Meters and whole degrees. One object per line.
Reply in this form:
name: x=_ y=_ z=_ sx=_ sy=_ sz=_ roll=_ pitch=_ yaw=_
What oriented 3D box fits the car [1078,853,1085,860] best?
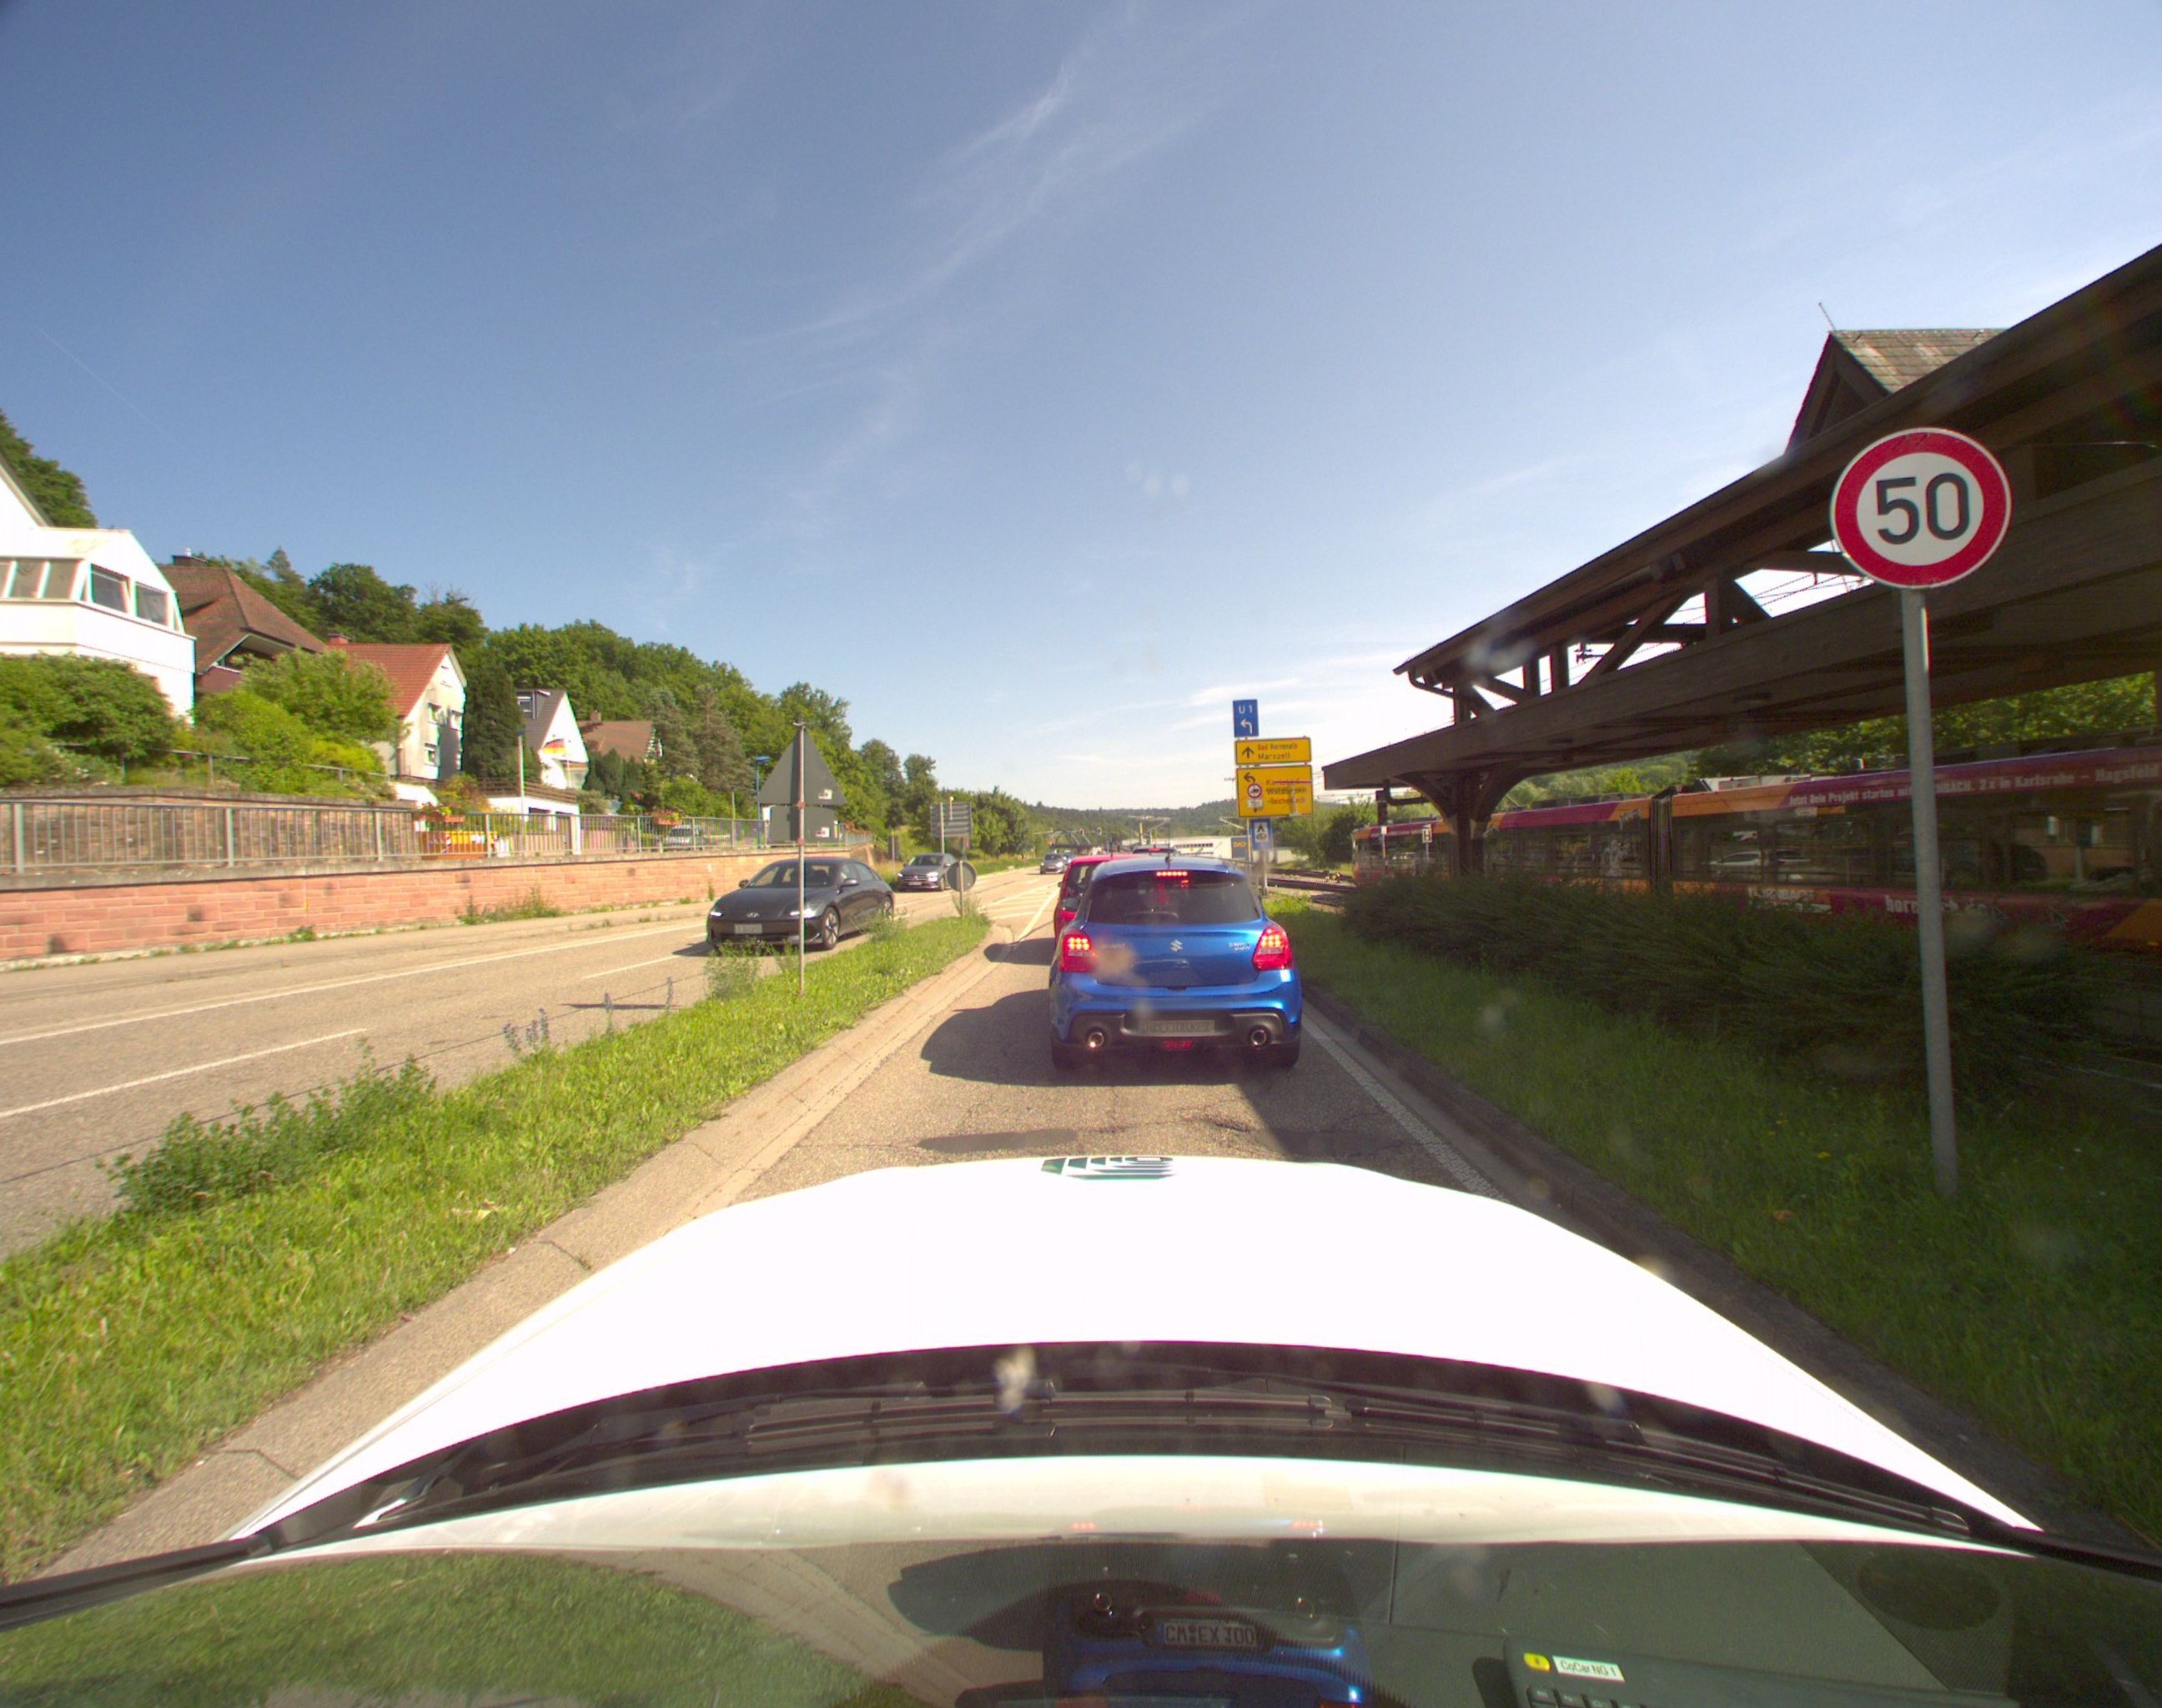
car: x=0.082 y=0.782 z=244.748 sx=1.986 sy=2.013 sz=4.002 roll=0 pitch=0 yaw=2

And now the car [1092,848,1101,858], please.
car: x=3.338 y=-0.295 z=176.223 sx=1.986 sy=2.144 sz=4.722 roll=0 pitch=0 yaw=2

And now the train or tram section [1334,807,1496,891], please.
train or tram section: x=15.379 y=-0.254 z=38.969 sx=2.747 sy=3.364 sz=12.044 roll=0 pitch=1 yaw=-1

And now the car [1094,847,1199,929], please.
car: x=1.408 y=0.645 z=18.079 sx=1.985 sy=1.531 sz=4.606 roll=-2 pitch=0 yaw=3

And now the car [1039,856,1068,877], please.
car: x=-1.916 y=0.854 z=57.911 sx=1.665 sy=1.441 sz=3.843 roll=-1 pitch=0 yaw=3

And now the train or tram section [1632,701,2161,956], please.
train or tram section: x=15.620 y=-0.353 z=13.665 sx=2.847 sy=3.365 sz=14.348 roll=-1 pitch=0 yaw=-1

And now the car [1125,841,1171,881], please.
car: x=3.096 y=0.301 z=38.172 sx=1.985 sy=1.736 sz=4.004 roll=1 pitch=0 yaw=3

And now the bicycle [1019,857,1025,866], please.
bicycle: x=-6.798 y=0.874 z=93.536 sx=0.564 sy=1.043 sz=1.551 roll=0 pitch=1 yaw=-1

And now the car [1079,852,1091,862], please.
car: x=0.691 y=0.508 z=140.351 sx=1.986 sy=1.783 sz=4.002 roll=0 pitch=0 yaw=2

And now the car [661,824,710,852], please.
car: x=-24.463 y=-0.971 z=50.495 sx=1.898 sy=1.629 sz=3.981 roll=-1 pitch=0 yaw=-14

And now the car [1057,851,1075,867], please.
car: x=-1.545 y=0.505 z=86.289 sx=1.826 sy=1.468 sz=3.811 roll=1 pitch=2 yaw=0

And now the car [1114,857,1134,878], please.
car: x=4.352 y=1.369 z=82.949 sx=1.986 sy=2.013 sz=4.002 roll=0 pitch=1 yaw=2

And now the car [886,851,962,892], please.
car: x=-6.395 y=0.676 z=33.680 sx=1.985 sy=1.564 sz=4.514 roll=-1 pitch=0 yaw=4

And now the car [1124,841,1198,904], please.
car: x=2.287 y=0.489 z=24.148 sx=1.985 sy=1.686 sz=4.501 roll=1 pitch=0 yaw=3

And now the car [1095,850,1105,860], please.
car: x=3.712 y=0.226 z=158.125 sx=1.986 sy=1.816 sz=4.002 roll=0 pitch=1 yaw=2

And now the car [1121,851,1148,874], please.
car: x=3.719 y=0.578 z=56.652 sx=1.824 sy=1.493 sz=3.815 roll=1 pitch=1 yaw=4

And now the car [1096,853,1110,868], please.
car: x=3.168 y=0.902 z=117.368 sx=1.986 sy=2.013 sz=4.002 roll=0 pitch=1 yaw=2

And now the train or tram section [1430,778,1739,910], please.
train or tram section: x=15.478 y=-0.228 z=26.895 sx=2.777 sy=3.364 sz=12.045 roll=0 pitch=0 yaw=0

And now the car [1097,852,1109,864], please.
car: x=3.719 y=0.704 z=139.004 sx=1.986 sy=2.013 sz=4.002 roll=0 pitch=1 yaw=2

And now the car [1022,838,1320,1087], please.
car: x=0.612 y=0.676 z=7.152 sx=1.862 sy=1.548 sz=4.001 roll=-1 pitch=0 yaw=1

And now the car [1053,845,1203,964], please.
car: x=0.739 y=0.673 z=12.823 sx=1.985 sy=1.571 sz=4.004 roll=0 pitch=0 yaw=3

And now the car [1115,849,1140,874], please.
car: x=3.883 y=0.594 z=68.179 sx=1.986 sy=2.013 sz=4.002 roll=0 pitch=1 yaw=2

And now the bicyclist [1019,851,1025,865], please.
bicyclist: x=-6.784 y=0.442 z=93.519 sx=0.627 sy=1.507 sz=0.506 roll=0 pitch=1 yaw=-2

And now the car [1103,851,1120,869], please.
car: x=3.676 y=0.677 z=98.917 sx=1.986 sy=2.013 sz=4.002 roll=0 pitch=1 yaw=2

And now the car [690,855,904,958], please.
car: x=-4.736 y=0.784 z=14.435 sx=1.783 sy=1.470 sz=4.722 roll=-1 pitch=0 yaw=5

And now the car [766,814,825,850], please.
car: x=-16.105 y=-1.234 z=46.122 sx=2.017 sy=1.920 sz=4.724 roll=0 pitch=1 yaw=-5
